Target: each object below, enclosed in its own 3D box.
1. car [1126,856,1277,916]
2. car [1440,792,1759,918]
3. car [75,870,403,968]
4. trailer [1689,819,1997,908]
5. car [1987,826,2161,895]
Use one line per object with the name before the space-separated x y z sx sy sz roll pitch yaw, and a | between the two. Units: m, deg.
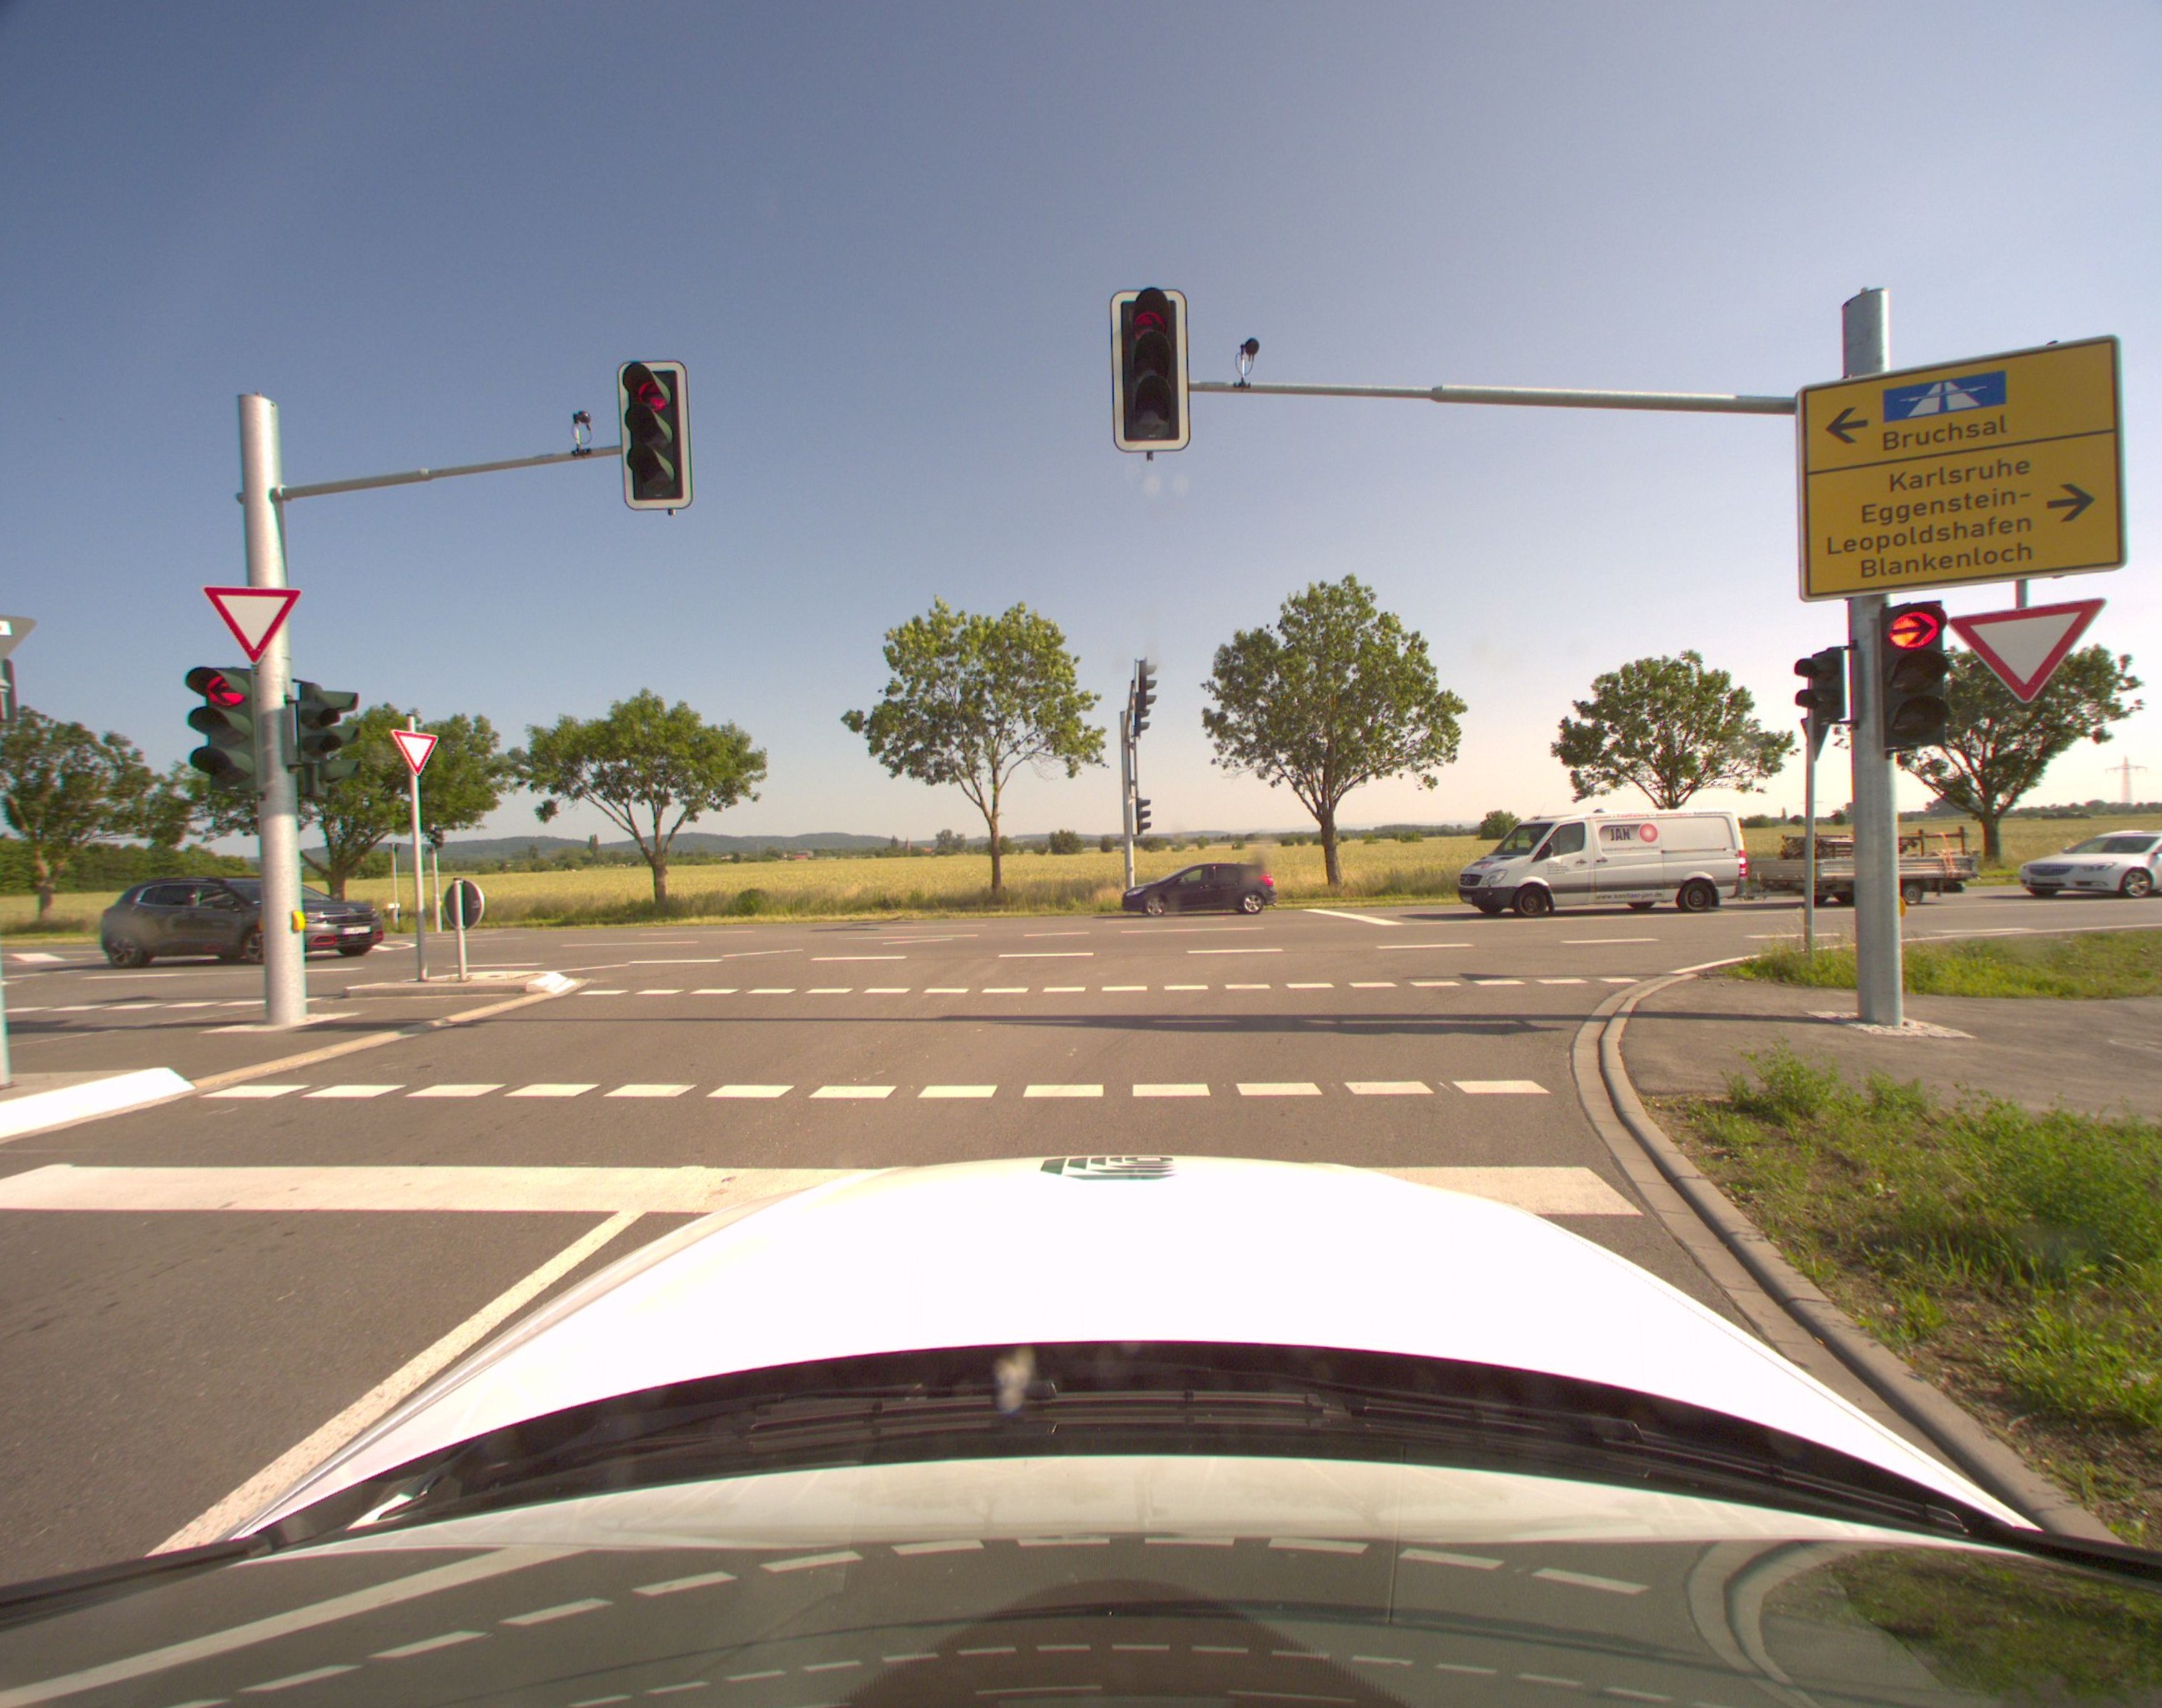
car | 3.306 0.872 22.976 3.974 1.501 2.000 -1 1 -1
car | 11.645 0.032 18.602 5.937 2.493 2.000 -2 -1 0
car | -16.151 1.193 15.762 4.578 1.723 2.004 0 -1 7
trailer | 17.238 0.205 18.616 5.245 1.753 1.953 -2 -1 -1
car | 24.654 0.144 19.087 4.858 1.510 1.997 0 -1 -4
